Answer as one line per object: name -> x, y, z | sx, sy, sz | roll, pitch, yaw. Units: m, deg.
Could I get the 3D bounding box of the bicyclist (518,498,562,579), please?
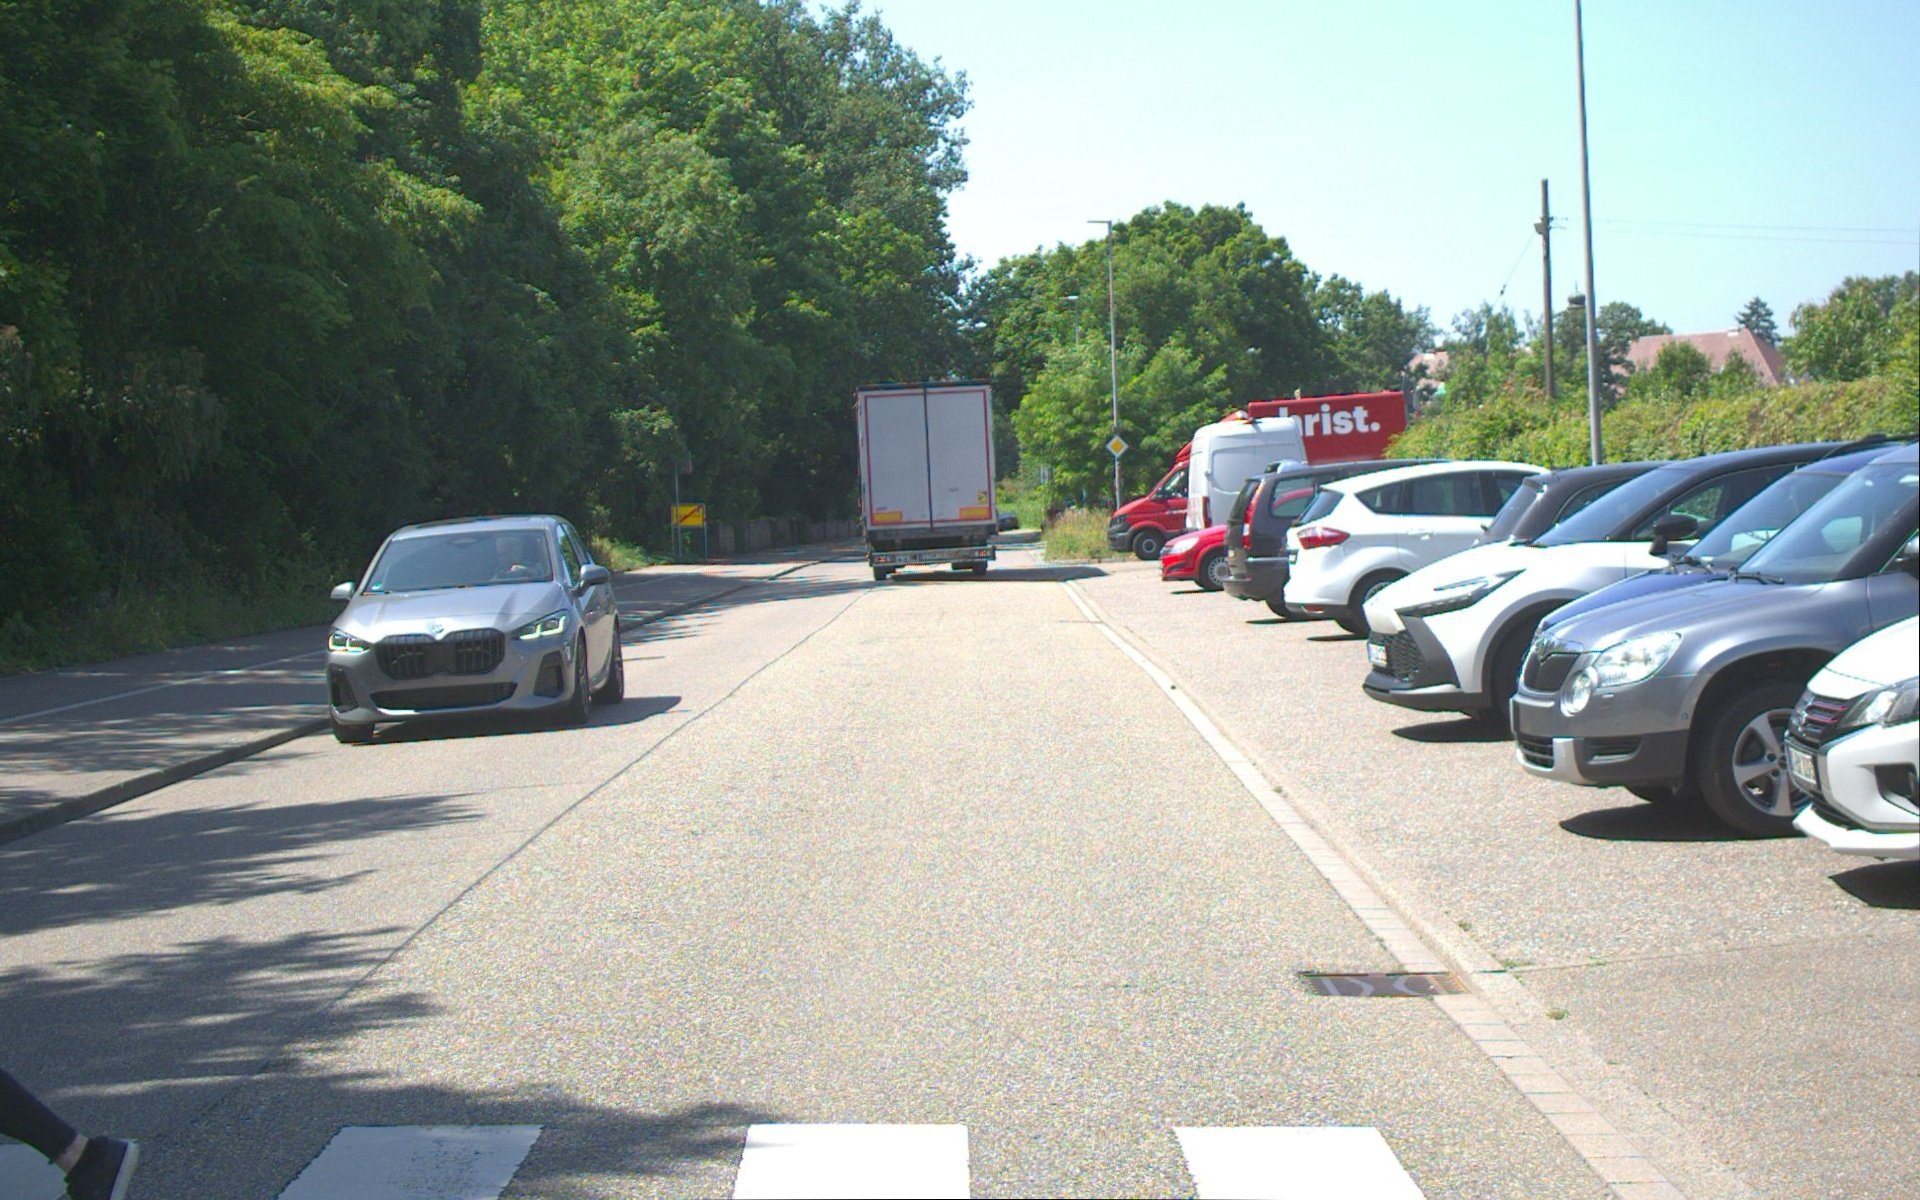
bicyclist -> -8.243, -1.206, 67.463 | 0.648, 1.559, 0.837 | -2, 2, 4

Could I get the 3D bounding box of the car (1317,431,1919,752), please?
car -> 4.352, -0.106, 20.732 | 3.962, 1.517, 1.865 | -6, 2, -5

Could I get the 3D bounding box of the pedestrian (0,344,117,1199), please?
pedestrian -> -2.380, 0.433, 7.242 | 1.082, 1.858, 0.784 | -3, 1, -13

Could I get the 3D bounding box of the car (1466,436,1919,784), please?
car -> 4.566, -0.036, 17.864 | 3.452, 1.522, 1.540 | -6, 2, -5

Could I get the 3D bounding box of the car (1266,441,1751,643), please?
car -> 5.235, -0.572, 33.169 | 4.276, 1.572, 1.766 | -4, 2, -1

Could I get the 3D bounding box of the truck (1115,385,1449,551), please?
truck -> 7.226, -2.954, 76.806 | 7.140, 3.428, 2.329 | -1, 2, 11

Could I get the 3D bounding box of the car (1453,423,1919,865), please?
car -> 4.345, 0.046, 14.935 | 3.960, 1.634, 1.664 | -6, 2, -5

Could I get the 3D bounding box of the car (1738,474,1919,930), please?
car -> 4.783, 0.174, 12.066 | 3.690, 1.445, 1.610 | -5, 2, 4

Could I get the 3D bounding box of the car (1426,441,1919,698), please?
car -> 5.022, -0.237, 23.722 | 3.388, 1.498, 1.588 | -4, 2, 4

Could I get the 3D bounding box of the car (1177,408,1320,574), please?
car -> 5.194, -2.001, 62.756 | 1.954, 2.724, 7.168 | -4, 2, 1

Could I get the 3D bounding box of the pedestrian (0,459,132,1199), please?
pedestrian -> -2.106, 0.558, 6.690 | 0.893, 1.605, 0.781 | -3, 1, -13

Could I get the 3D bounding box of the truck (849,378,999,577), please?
truck -> -0.611, -2.506, 71.945 | 2.733, 3.733, 13.246 | -1, 2, 1

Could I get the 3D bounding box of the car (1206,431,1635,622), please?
car -> 5.222, -0.838, 39.377 | 4.452, 1.798, 1.953 | -4, 1, -4

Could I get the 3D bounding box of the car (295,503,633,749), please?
car -> -3.658, 0.123, 26.070 | 1.891, 1.527, 4.197 | -6, 2, -1

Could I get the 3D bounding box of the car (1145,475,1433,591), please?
car -> 4.966, -1.025, 52.243 | 4.053, 1.429, 1.836 | -4, 2, -2
